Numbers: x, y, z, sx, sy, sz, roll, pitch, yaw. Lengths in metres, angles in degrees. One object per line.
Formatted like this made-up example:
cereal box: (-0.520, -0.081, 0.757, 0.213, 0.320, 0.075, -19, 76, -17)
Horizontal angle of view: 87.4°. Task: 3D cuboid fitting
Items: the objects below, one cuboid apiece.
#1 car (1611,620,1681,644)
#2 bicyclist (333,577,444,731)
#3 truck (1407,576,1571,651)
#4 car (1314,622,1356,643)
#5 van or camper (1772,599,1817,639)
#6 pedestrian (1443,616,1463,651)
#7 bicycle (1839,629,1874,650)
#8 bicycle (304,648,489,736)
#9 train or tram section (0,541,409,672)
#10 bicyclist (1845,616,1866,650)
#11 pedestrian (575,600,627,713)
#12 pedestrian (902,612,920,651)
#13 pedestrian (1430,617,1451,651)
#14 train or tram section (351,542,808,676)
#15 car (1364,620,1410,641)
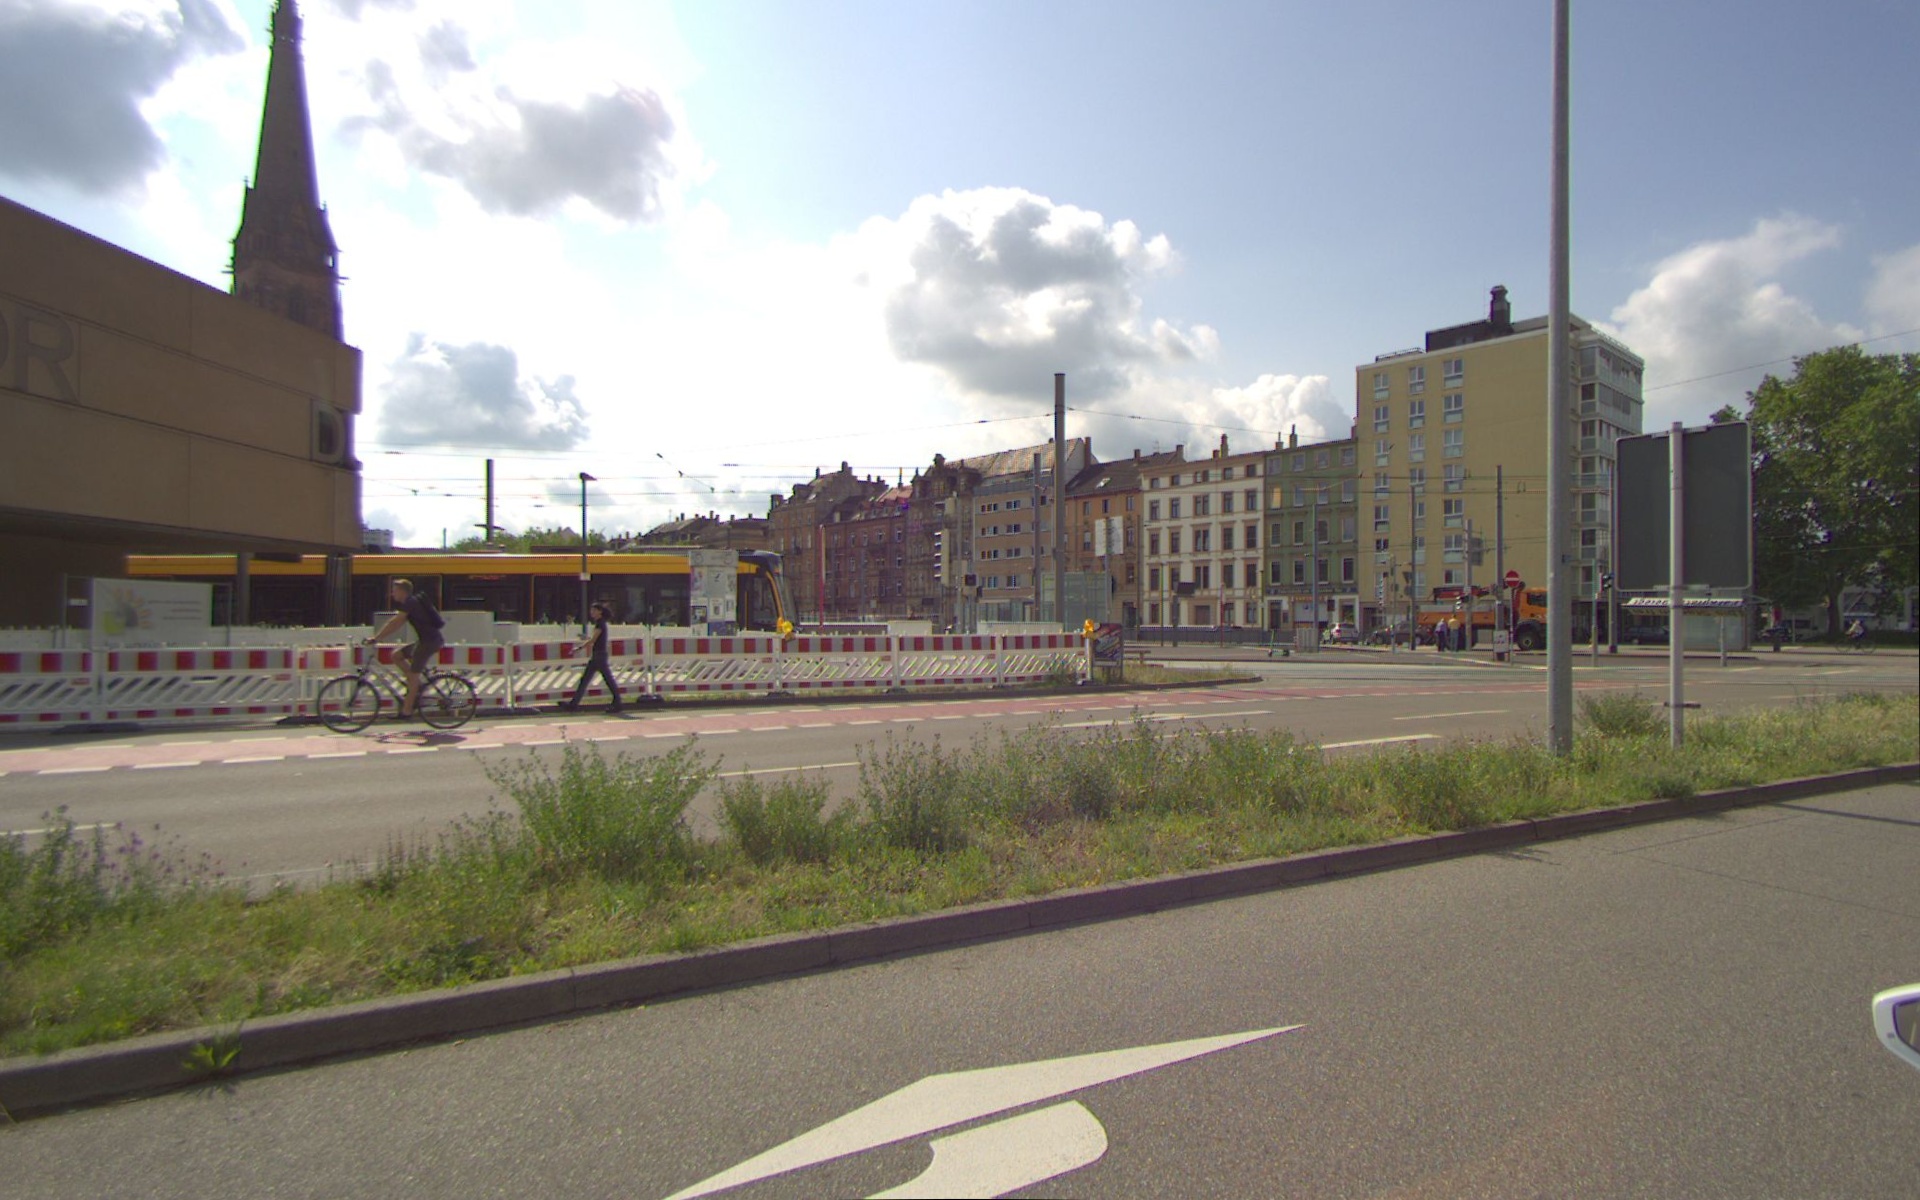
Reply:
car: (49.944, 2.332, 73.192, 3.945, 1.684, 1.988, -1, -1, 44)
bicyclist: (-7.195, 0.666, 12.709, 1.144, 1.847, 0.808, 1, -1, -27)
truck: (29.373, 0.795, 56.061, 7.831, 3.907, 2.187, -1, -2, 44)
car: (28.313, 2.435, 75.869, 1.664, 1.520, 3.676, 0, -1, -3)
van or camper: (64.752, 1.505, 77.938, 2.552, 2.947, 6.068, -1, -1, 41)
pedestrian: (26.723, 1.822, 54.423, 0.771, 1.893, 0.648, 1, -1, -26)
bicycle: (50.501, 2.229, 56.612, 1.449, 1.132, 0.584, -1, -1, 43)
bicycle: (-7.088, 1.138, 12.744, 1.992, 1.015, 0.614, 1, -1, -27)
train or tram section: (-22.860, 0.191, 29.394, 12.165, 3.611, 2.631, 0, -1, 2)
bicyclist: (50.482, 1.836, 56.610, 0.876, 1.895, 0.759, -1, -1, 43)
pedestrian: (-5.576, 0.857, 15.598, 0.633, 1.703, 0.732, 1, -1, -30)
pedestrian: (-2.276, 1.472, 47.125, 0.788, 1.820, 0.965, 0, -1, -1)
pedestrian: (26.364, 1.864, 55.149, 0.808, 1.884, 0.696, 1, -1, -26)
train or tram section: (-10.679, 0.251, 28.857, 12.165, 3.619, 2.669, 0, -1, 3)
car: (30.905, 2.203, 72.800, 1.833, 1.455, 4.007, 0, -1, 4)
